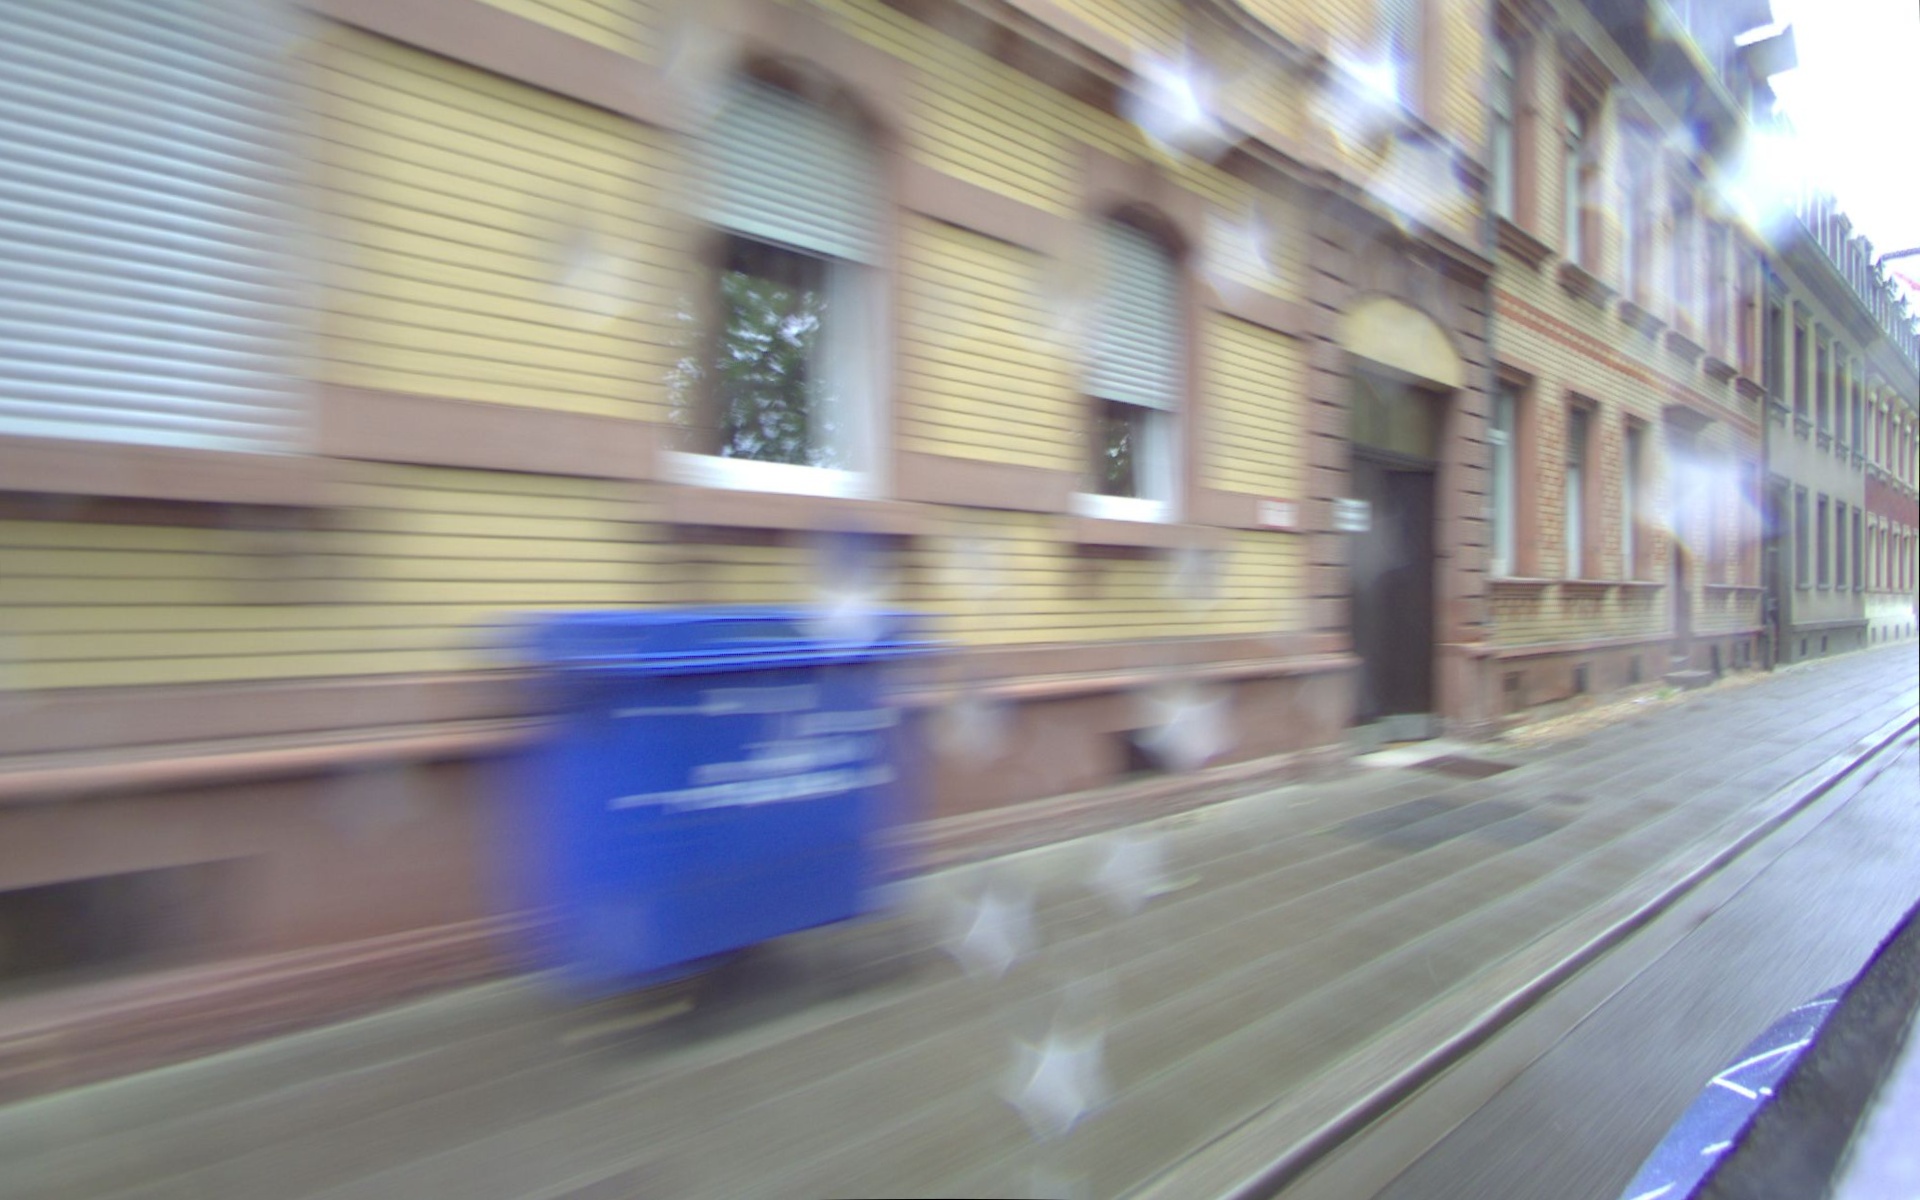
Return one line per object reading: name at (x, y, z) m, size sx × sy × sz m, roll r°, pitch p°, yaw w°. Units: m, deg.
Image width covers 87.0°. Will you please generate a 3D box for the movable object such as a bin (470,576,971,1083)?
movable object such as a bin at (-0.828, 0.618, 3.543) m, size 1.343 × 1.317 × 1.023 m, roll 1°, pitch 3°, yaw -41°
